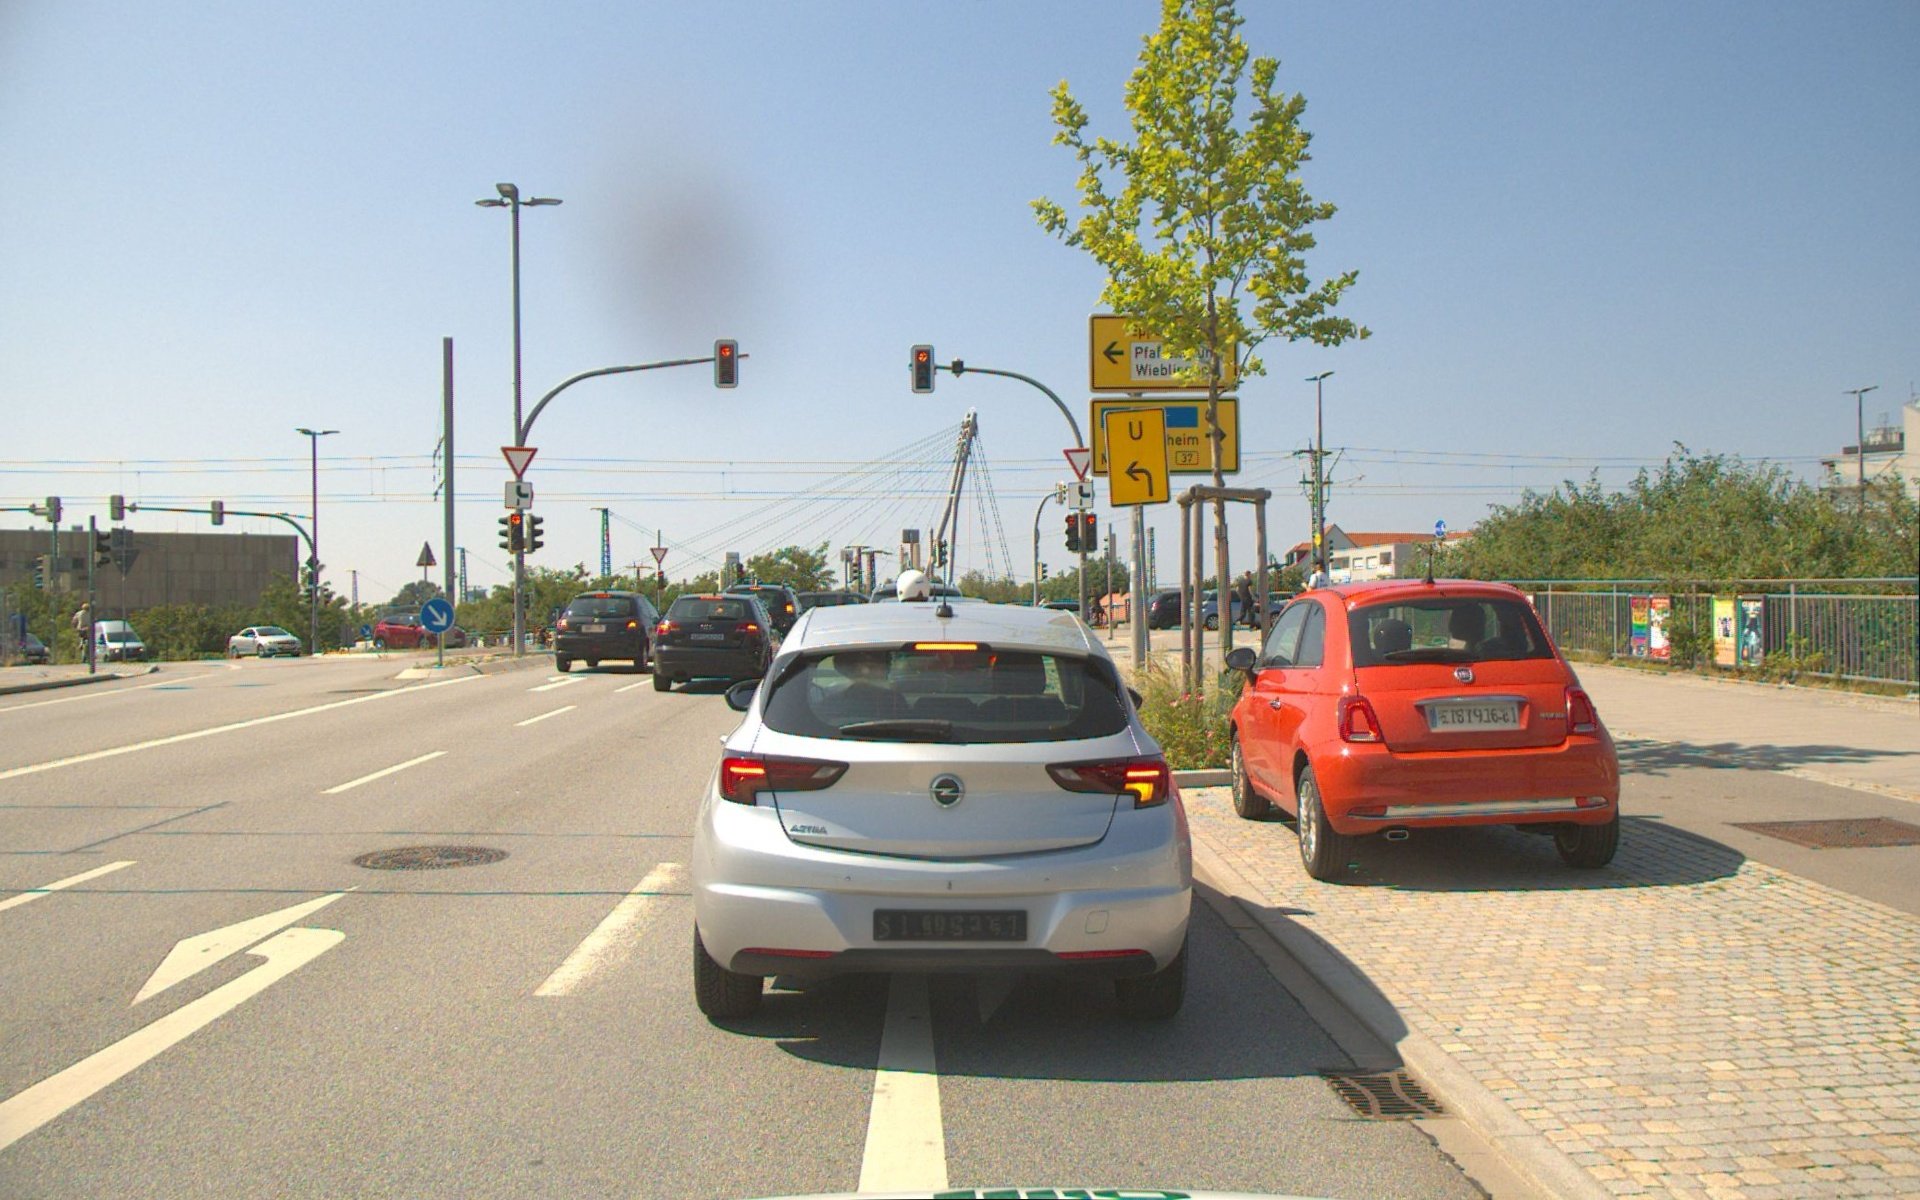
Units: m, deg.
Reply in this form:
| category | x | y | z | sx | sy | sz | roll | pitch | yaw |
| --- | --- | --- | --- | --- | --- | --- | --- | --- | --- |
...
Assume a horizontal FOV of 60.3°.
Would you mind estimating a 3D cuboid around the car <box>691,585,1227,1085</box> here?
| category | x | y | z | sx | sy | sz | roll | pitch | yaw |
| --- | --- | --- | --- | --- | --- | --- | --- | --- | --- |
| car | -0.049 | 0.735 | 7.275 | 1.656 | 1.546 | 4.269 | 0 | 0 | -1 |

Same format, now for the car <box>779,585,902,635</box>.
| category | x | y | z | sx | sy | sz | roll | pitch | yaw |
| --- | --- | --- | --- | --- | --- | --- | --- | --- | --- |
| car | -4.546 | 0.394 | 63.219 | 4.452 | 1.815 | 2.001 | 1 | -1 | 3 |

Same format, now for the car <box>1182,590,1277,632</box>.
| category | x | y | z | sx | sy | sz | roll | pitch | yaw |
| --- | --- | --- | --- | --- | --- | --- | --- | --- | --- |
| car | 9.909 | 0.399 | 60.834 | 3.090 | 1.464 | 1.581 | 1 | -1 | -13 |

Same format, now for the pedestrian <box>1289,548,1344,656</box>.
| category | x | y | z | sx | sy | sz | roll | pitch | yaw |
| --- | --- | --- | --- | --- | --- | --- | --- | --- | --- |
| pedestrian | 6.297 | 0.043 | 29.249 | 0.743 | 1.862 | 0.884 | 1 | -1 | -1 |

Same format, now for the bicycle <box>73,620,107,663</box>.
| category | x | y | z | sx | sy | sz | roll | pitch | yaw |
| --- | --- | --- | --- | --- | --- | --- | --- | --- | --- |
| bicycle | -24.005 | 1.137 | 45.638 | 0.668 | 1.147 | 2.340 | 2 | -1 | -31 |

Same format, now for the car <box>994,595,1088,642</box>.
| category | x | y | z | sx | sy | sz | roll | pitch | yaw |
| --- | --- | --- | --- | --- | --- | --- | --- | --- | --- |
| car | 3.780 | 0.869 | 77.471 | 3.922 | 2.049 | 1.991 | 1 | -1 | -16 |

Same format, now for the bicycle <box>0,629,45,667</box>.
| category | x | y | z | sx | sy | sz | roll | pitch | yaw |
| --- | --- | --- | --- | --- | --- | --- | --- | --- | --- |
| bicycle | -29.056 | 1.487 | 51.262 | 0.721 | 1.154 | 2.495 | 4 | -4 | -40 |

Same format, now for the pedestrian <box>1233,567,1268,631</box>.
| category | x | y | z | sx | sy | sz | roll | pitch | yaw |
| --- | --- | --- | --- | --- | --- | --- | --- | --- | --- |
| pedestrian | 8.737 | -0.041 | 49.700 | 0.741 | 1.896 | 0.737 | 0 | -1 | 45 |

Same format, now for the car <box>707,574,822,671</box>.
| category | x | y | z | sx | sy | sz | roll | pitch | yaw |
| --- | --- | --- | --- | --- | --- | --- | --- | --- | --- |
| car | -3.686 | 0.424 | 31.824 | 1.767 | 1.650 | 3.915 | -3 | -1 | -2 |

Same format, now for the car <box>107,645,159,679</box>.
| category | x | y | z | sx | sy | sz | roll | pitch | yaw |
| --- | --- | --- | --- | --- | --- | --- | --- | --- | --- |
| car | -54.099 | 4.045 | 108.159 | 1.984 | 2.049 | 3.936 | 0 | -1 | -43 |

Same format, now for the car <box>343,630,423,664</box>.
| category | x | y | z | sx | sy | sz | roll | pitch | yaw |
| --- | --- | --- | --- | --- | --- | --- | --- | --- | --- |
| car | -29.982 | 2.436 | 85.913 | 4.124 | 1.674 | 1.827 | 1 | -1 | 36 |

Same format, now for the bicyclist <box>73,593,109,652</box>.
| category | x | y | z | sx | sy | sz | roll | pitch | yaw |
| --- | --- | --- | --- | --- | --- | --- | --- | --- | --- |
| bicyclist | -23.977 | 0.625 | 45.611 | 0.811 | 1.596 | 0.939 | 2 | -1 | -30 |

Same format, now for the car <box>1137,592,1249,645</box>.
| category | x | y | z | sx | sy | sz | roll | pitch | yaw |
| --- | --- | --- | --- | --- | --- | --- | --- | --- | --- |
| car | 9.121 | 0.732 | 64.897 | 3.920 | 2.049 | 1.992 | 0 | -1 | -15 |

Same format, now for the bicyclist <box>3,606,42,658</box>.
| category | x | y | z | sx | sy | sz | roll | pitch | yaw |
| --- | --- | --- | --- | --- | --- | --- | --- | --- | --- |
| bicyclist | -29.039 | 0.985 | 51.232 | 0.855 | 1.587 | 0.813 | 2 | -1 | -41 |

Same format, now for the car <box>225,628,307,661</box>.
| category | x | y | z | sx | sy | sz | roll | pitch | yaw |
| --- | --- | --- | --- | --- | --- | --- | --- | --- | --- |
| car | -30.938 | 1.959 | 73.737 | 3.641 | 1.356 | 1.765 | 1 | -1 | 37 |

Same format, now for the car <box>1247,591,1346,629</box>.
| category | x | y | z | sx | sy | sz | roll | pitch | yaw |
| --- | --- | --- | --- | --- | --- | --- | --- | --- | --- |
| car | 15.917 | 0.486 | 78.172 | 4.180 | 1.703 | 1.990 | 1 | -1 | -18 |

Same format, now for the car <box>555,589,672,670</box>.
| category | x | y | z | sx | sy | sz | roll | pitch | yaw |
| --- | --- | --- | --- | --- | --- | --- | --- | --- | --- |
| car | -6.399 | 0.543 | 30.815 | 1.555 | 1.419 | 3.338 | 0 | -1 | -1 |

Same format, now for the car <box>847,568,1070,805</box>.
| category | x | y | z | sx | sy | sz | roll | pitch | yaw |
| --- | --- | --- | --- | --- | --- | --- | --- | --- | --- |
| car | -0.057 | 0.662 | 14.079 | 1.602 | 1.703 | 3.743 | 1 | -1 | -2 |

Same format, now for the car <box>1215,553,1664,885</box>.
| category | x | y | z | sx | sy | sz | roll | pitch | yaw |
| --- | --- | --- | --- | --- | --- | --- | --- | --- | --- |
| car | 2.646 | 0.601 | 10.053 | 1.635 | 1.567 | 3.917 | -2 | -1 | 1 |

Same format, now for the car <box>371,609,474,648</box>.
| category | x | y | z | sx | sy | sz | roll | pitch | yaw |
| --- | --- | --- | --- | --- | --- | --- | --- | --- | --- |
| car | -21.822 | 1.151 | 67.169 | 3.909 | 1.481 | 1.682 | 1 | -1 | 27 |

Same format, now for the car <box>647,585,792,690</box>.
| category | x | y | z | sx | sy | sz | roll | pitch | yaw |
| --- | --- | --- | --- | --- | --- | --- | --- | --- | --- |
| car | -3.628 | 0.559 | 25.561 | 1.671 | 1.437 | 3.999 | 2 | -1 | -1 |

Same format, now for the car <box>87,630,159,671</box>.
| category | x | y | z | sx | sy | sz | roll | pitch | yaw |
| --- | --- | --- | --- | --- | --- | --- | --- | --- | --- |
| car | -44.149 | 2.642 | 87.253 | 3.916 | 2.049 | 1.605 | 1 | -1 | 33 |

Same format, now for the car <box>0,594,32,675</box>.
| category | x | y | z | sx | sy | sz | roll | pitch | yaw |
| --- | --- | --- | --- | --- | --- | --- | --- | --- | --- |
| car | -25.455 | 0.858 | 43.538 | 1.651 | 2.049 | 3.962 | 2 | -1 | -28 |
